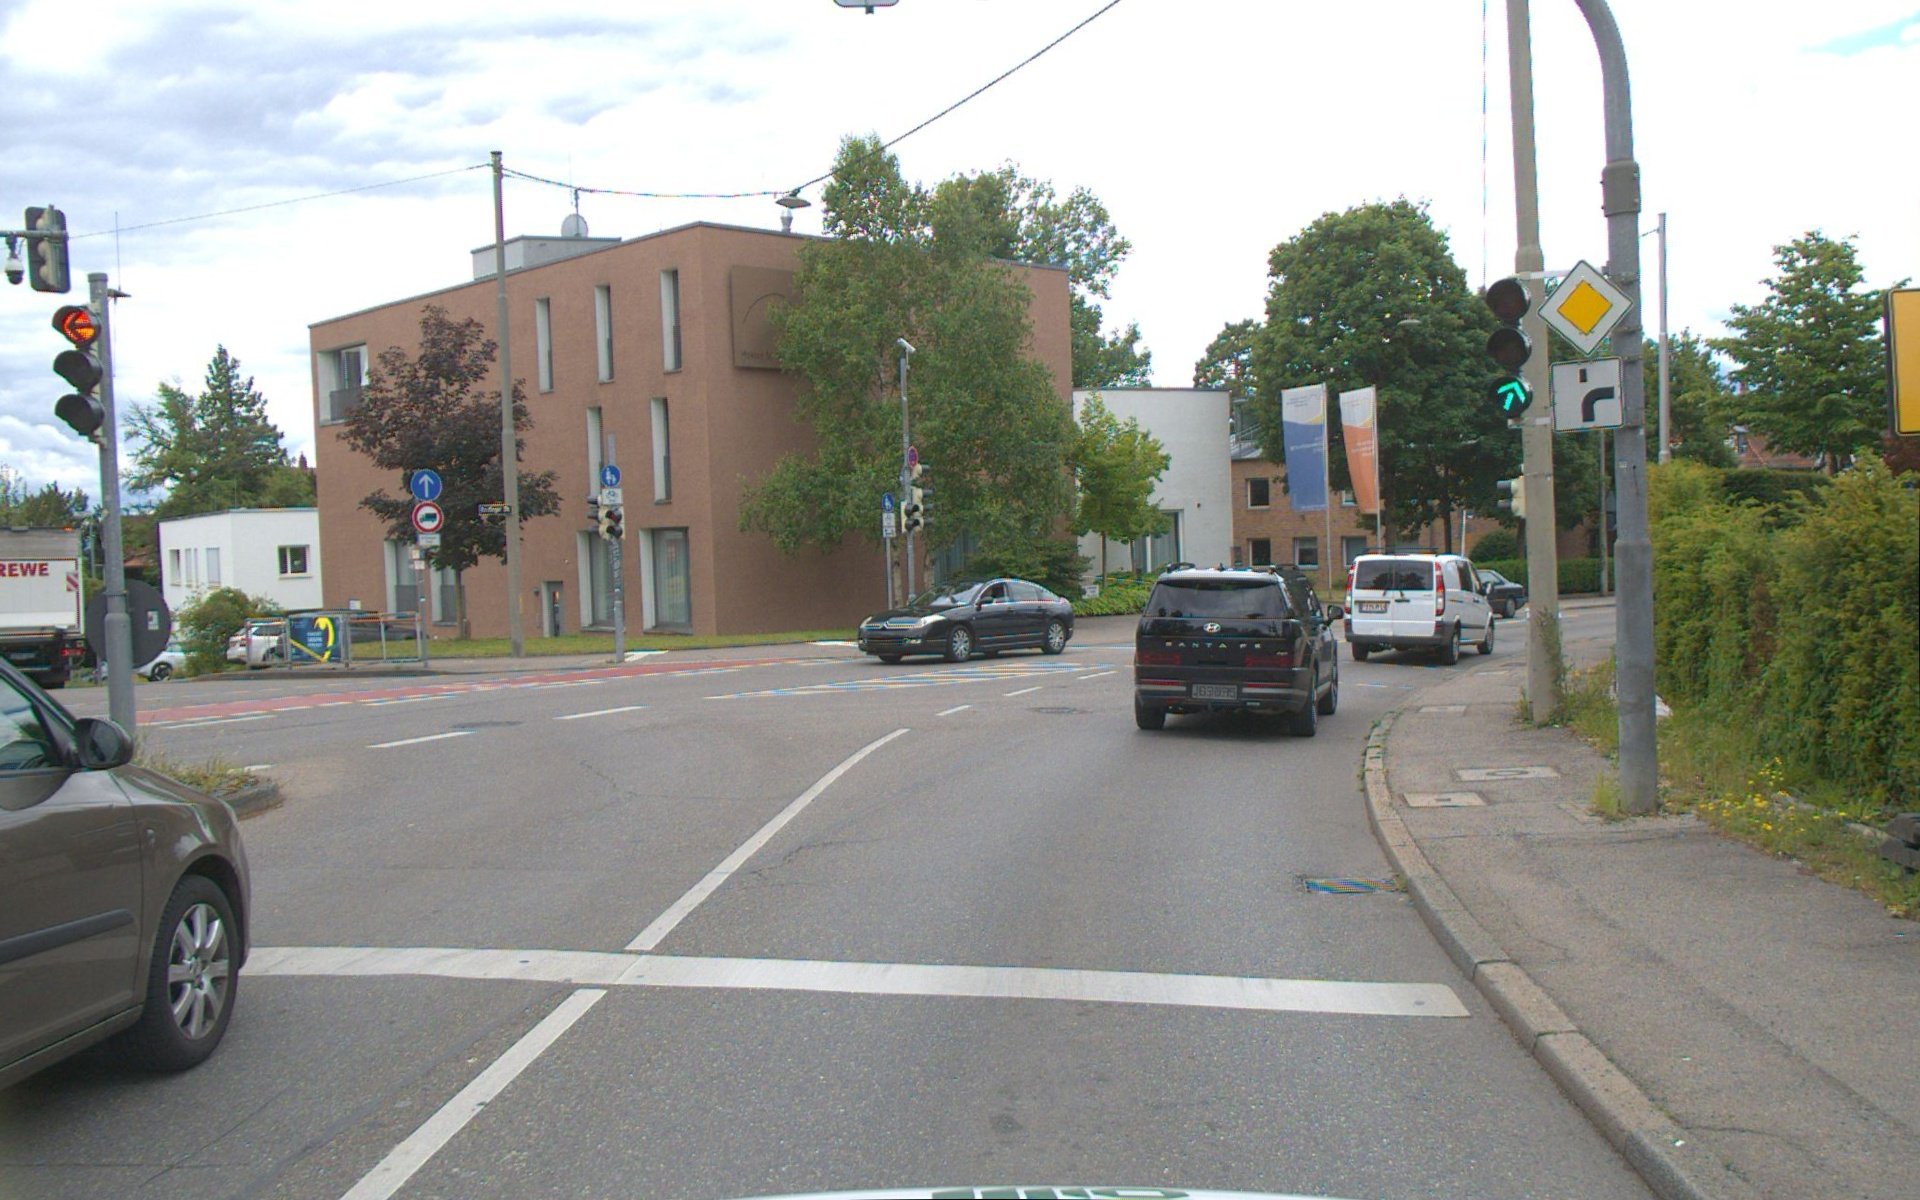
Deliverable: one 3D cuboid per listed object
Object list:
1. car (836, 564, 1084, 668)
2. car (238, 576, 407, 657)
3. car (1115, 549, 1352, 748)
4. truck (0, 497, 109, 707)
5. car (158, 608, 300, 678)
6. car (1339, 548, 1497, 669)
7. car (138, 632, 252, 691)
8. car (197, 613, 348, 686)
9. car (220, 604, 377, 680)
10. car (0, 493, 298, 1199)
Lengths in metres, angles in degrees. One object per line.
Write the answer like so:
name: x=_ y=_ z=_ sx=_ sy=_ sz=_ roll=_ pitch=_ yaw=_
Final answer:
car: x=0.093 y=0.250 z=30.422 sx=1.963 sy=1.687 sz=4.760 roll=-2 pitch=1 yaw=40
car: x=-17.930 y=0.451 z=46.580 sx=3.963 sy=2.048 sz=1.971 roll=-3 pitch=1 yaw=-40
car: x=3.138 y=0.438 z=18.303 sx=1.952 sy=1.914 sz=4.002 roll=1 pitch=1 yaw=18
truck: x=-24.963 y=0.074 z=43.154 sx=3.101 sy=4.817 sz=11.644 roll=-3 pitch=1 yaw=-36
car: x=-24.877 y=1.433 z=56.350 sx=3.964 sy=2.048 sz=1.971 roll=-4 pitch=1 yaw=-40
car: x=8.537 y=0.076 z=30.558 sx=1.924 sy=2.048 sz=4.423 roll=1 pitch=2 yaw=27
car: x=-30.298 y=2.414 z=65.494 sx=3.943 sy=2.048 sz=1.981 roll=-3 pitch=1 yaw=-29
car: x=-21.698 y=1.533 z=52.261 sx=3.965 sy=2.049 sz=1.970 roll=-2 pitch=0 yaw=-41
car: x=-20.080 y=1.256 z=50.287 sx=3.964 sy=2.048 sz=1.971 roll=-3 pitch=1 yaw=-41
car: x=-3.235 y=0.650 z=3.726 sx=1.855 sy=1.735 sz=3.999 roll=-3 pitch=1 yaw=-1
